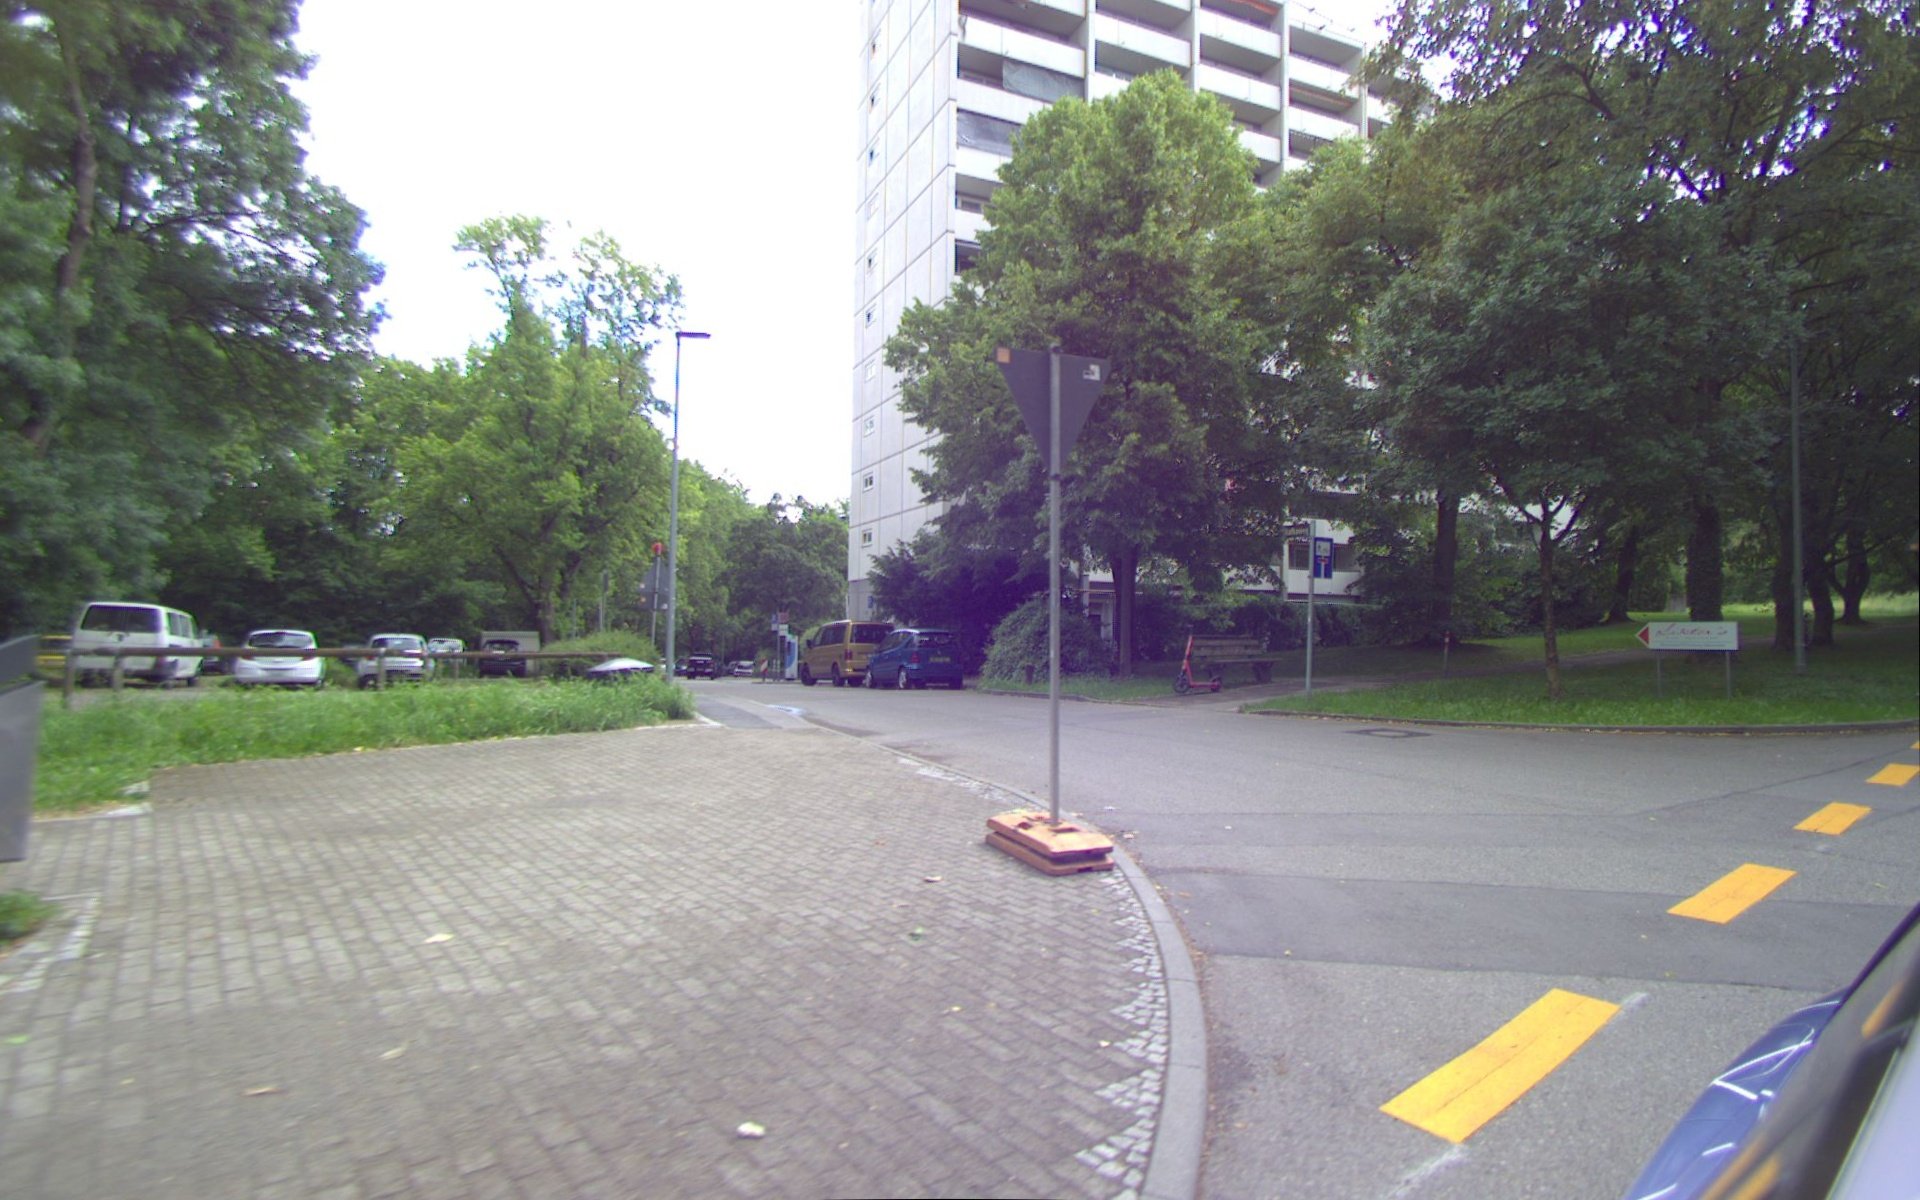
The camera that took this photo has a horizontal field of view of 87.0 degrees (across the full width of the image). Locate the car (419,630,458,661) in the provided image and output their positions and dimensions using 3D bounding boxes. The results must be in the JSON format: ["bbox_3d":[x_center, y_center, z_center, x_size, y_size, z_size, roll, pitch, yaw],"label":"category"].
[{"bbox_3d":[-28.438,2.447,55.137,1.764,1.518,4.224,-1,0,-28],"label":"car"}]

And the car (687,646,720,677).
[{"bbox_3d":[-17.379,4.145,68.717,1.794,1.872,4.417,-1,-1,-10],"label":"car"}]

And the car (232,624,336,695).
[{"bbox_3d":[-16.694,1.402,25.176,1.764,1.518,4.224,-1,0,-28],"label":"car"}]

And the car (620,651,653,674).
[{"bbox_3d":[-24.769,4.755,77.548,1.618,1.505,3.680,-1,0,-5],"label":"car"}]

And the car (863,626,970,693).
[{"bbox_3d":[-1.235,1.502,26.850,1.794,1.590,3.534,0,-1,-21],"label":"car"}]

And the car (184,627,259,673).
[{"bbox_3d":[-27.590,1.814,37.913,1.795,1.590,3.532,0,-1,-28],"label":"car"}]

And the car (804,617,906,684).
[{"bbox_3d":[-3.313,1.489,31.194,1.794,1.872,4.417,0,-1,-25],"label":"car"}]

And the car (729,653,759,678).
[{"bbox_3d":[-18.383,5.584,86.147,1.796,1.872,4.412,-1,-1,-2],"label":"car"}]

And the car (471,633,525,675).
[{"bbox_3d":[-19.449,2.226,42.536,1.764,1.518,4.224,-1,0,-28],"label":"car"}]

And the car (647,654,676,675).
[{"bbox_3d":[-24.880,5.381,84.420,1.618,1.505,3.680,-1,0,-5],"label":"car"}]

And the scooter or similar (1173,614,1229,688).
[{"bbox_3d":[4.379,0.914,18.375,1.086,1.303,0.284,0,-1,-32],"label":"scooter or similar"}]

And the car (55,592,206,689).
[{"bbox_3d":[-19.269,0.871,23.731,1.960,2.039,4.224,-1,0,-28],"label":"car"}]

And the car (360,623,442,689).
[{"bbox_3d":[-14.778,1.412,26.812,1.764,1.518,4.224,-1,0,-28],"label":"car"}]
